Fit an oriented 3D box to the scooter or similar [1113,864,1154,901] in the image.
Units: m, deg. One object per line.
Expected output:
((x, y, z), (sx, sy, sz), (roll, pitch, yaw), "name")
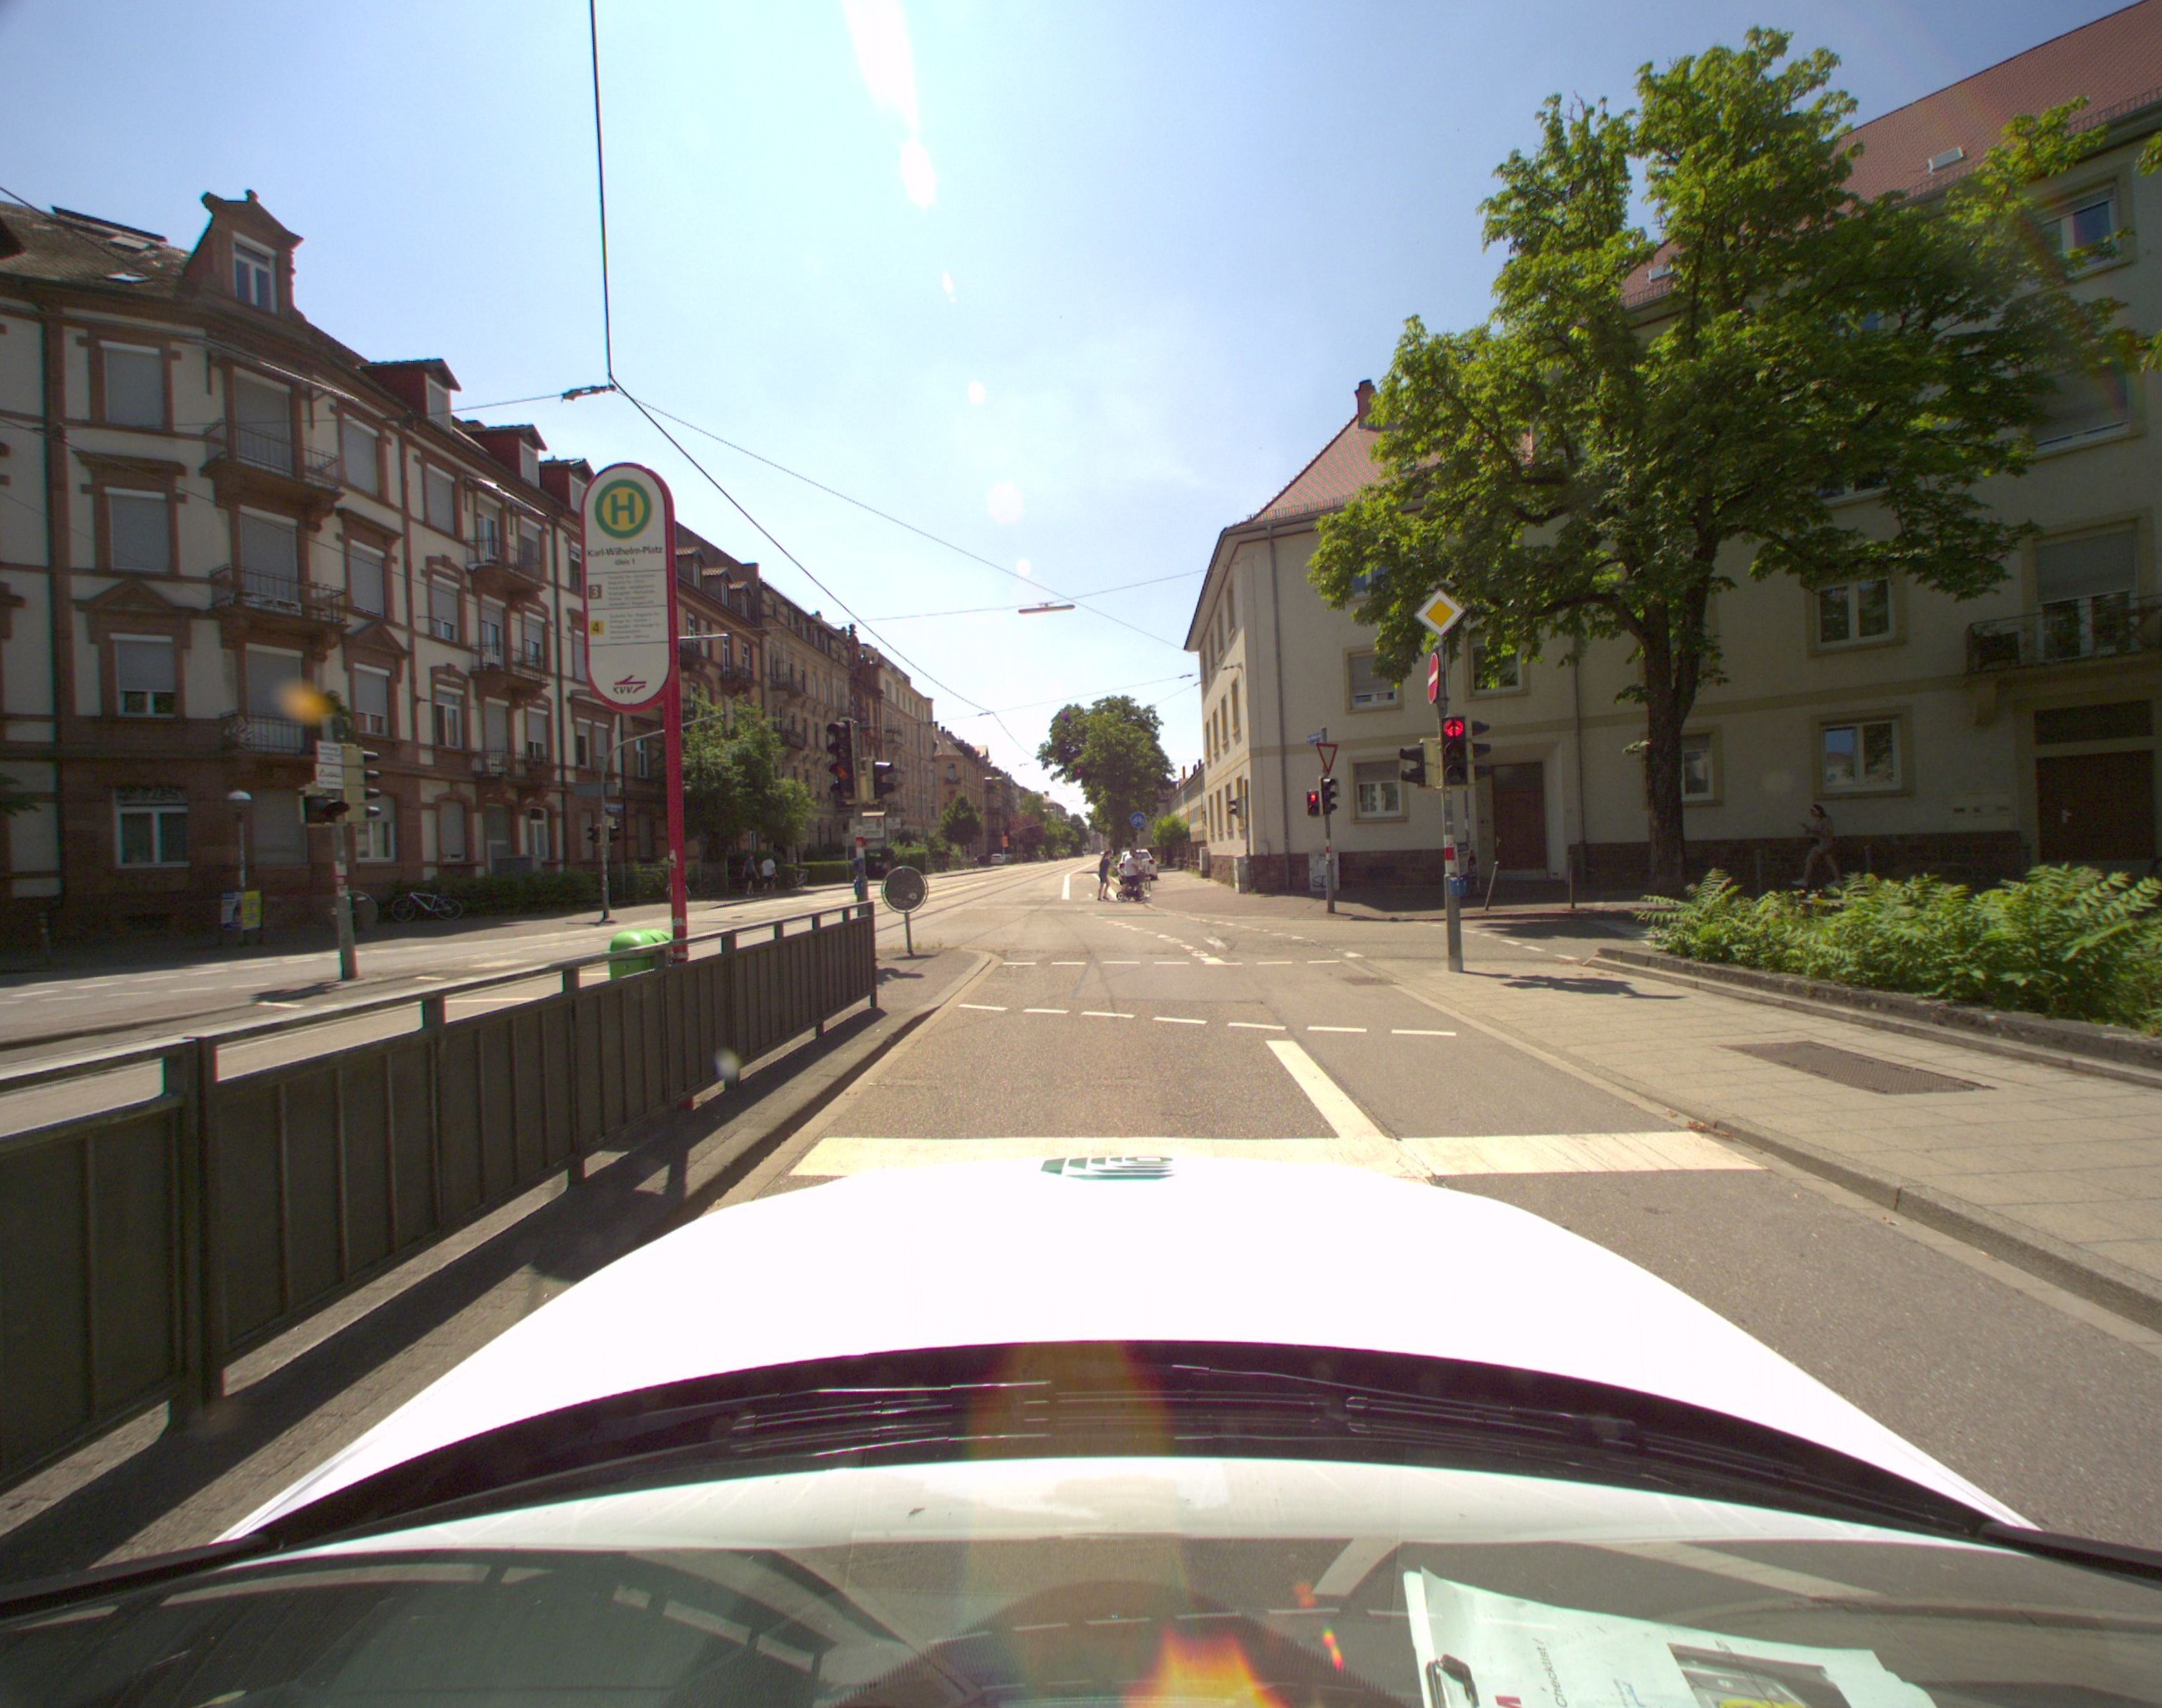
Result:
((1.682, 0.896, 26.221), (1.203, 1.155, 0.556), (0, -1, -14), "scooter or similar")

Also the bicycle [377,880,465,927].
((-19.555, 1.441, 24.165), (0.557, 1.294, 1.975), (-1, -1, 43), "bicycle")

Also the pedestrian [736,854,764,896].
((-14.615, 0.917, 35.992), (0.812, 1.822, 0.875), (0, 1, 5), "pedestrian")

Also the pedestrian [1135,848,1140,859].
((7.600, -0.058, 109.577), (0.519, 1.562, 0.573), (-2, 0, 1), "pedestrian")

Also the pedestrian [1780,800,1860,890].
((14.919, -0.179, 16.465), (1.043, 1.690, 0.658), (-5, 3, 38), "pedestrian")

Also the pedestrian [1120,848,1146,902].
((1.623, 0.651, 25.451), (0.675, 1.645, 0.556), (0, -1, -13), "pedestrian")

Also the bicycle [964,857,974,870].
((-11.708, 0.957, 85.141), (0.675, 1.278, 1.918), (-2, 0, -1), "bicycle")

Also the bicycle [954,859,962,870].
((-12.153, 1.030, 80.503), (0.677, 1.064, 1.912), (-2, 0, -9), "bicycle")

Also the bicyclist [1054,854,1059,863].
((-4.869, 0.845, 161.151), (0.724, 1.768, 1.080), (0, -1, 3), "bicyclist")

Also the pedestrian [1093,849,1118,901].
((0.781, 0.662, 25.997), (0.675, 1.645, 0.556), (0, -1, -13), "pedestrian")

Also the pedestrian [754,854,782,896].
((-13.832, 0.906, 36.037), (0.812, 1.822, 0.875), (0, 1, 5), "pedestrian")

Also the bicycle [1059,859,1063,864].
((-4.359, 1.671, 181.434), (0.724, 1.123, 2.087), (0, -1, 4), "bicycle")

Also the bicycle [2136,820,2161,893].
((17.010, 0.022, 12.088), (0.527, 1.104, 1.589), (-2, 0, -34), "bicycle")

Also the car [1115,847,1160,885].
((2.525, 0.532, 37.419), (1.808, 1.516, 4.001), (-4, -1, 2), "car")

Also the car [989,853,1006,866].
((-11.878, 0.809, 116.070), (1.912, 1.715, 4.001), (0, -1, 2), "car")

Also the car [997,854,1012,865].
((-11.658, 0.874, 124.334), (1.912, 1.715, 4.001), (0, -1, 2), "car")

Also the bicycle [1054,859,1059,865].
((-4.861, 1.509, 161.139), (0.724, 1.123, 2.087), (0, -1, 4), "bicycle")

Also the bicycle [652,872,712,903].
((-15.670, 1.302, 32.087), (0.934, 1.136, 2.774), (0, -1, 1), "bicycle")

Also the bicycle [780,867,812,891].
((-14.399, 1.256, 41.260), (0.936, 1.136, 2.767), (0, -1, -7), "bicycle")

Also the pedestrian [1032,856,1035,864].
((-8.574, 1.109, 145.956), (0.404, 1.461, 0.436), (-2, 0, 1), "pedestrian")

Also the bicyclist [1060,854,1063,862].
((-4.349, 0.975, 181.426), (0.724, 1.818, 1.080), (0, -1, 3), "bicyclist")

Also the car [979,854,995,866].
((-14.330, 0.895, 124.472), (1.912, 1.715, 4.001), (0, -1, 2), "car")

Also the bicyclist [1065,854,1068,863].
((-3.233, 0.982, 181.175), (0.724, 1.818, 1.080), (0, -1, 3), "bicyclist")
